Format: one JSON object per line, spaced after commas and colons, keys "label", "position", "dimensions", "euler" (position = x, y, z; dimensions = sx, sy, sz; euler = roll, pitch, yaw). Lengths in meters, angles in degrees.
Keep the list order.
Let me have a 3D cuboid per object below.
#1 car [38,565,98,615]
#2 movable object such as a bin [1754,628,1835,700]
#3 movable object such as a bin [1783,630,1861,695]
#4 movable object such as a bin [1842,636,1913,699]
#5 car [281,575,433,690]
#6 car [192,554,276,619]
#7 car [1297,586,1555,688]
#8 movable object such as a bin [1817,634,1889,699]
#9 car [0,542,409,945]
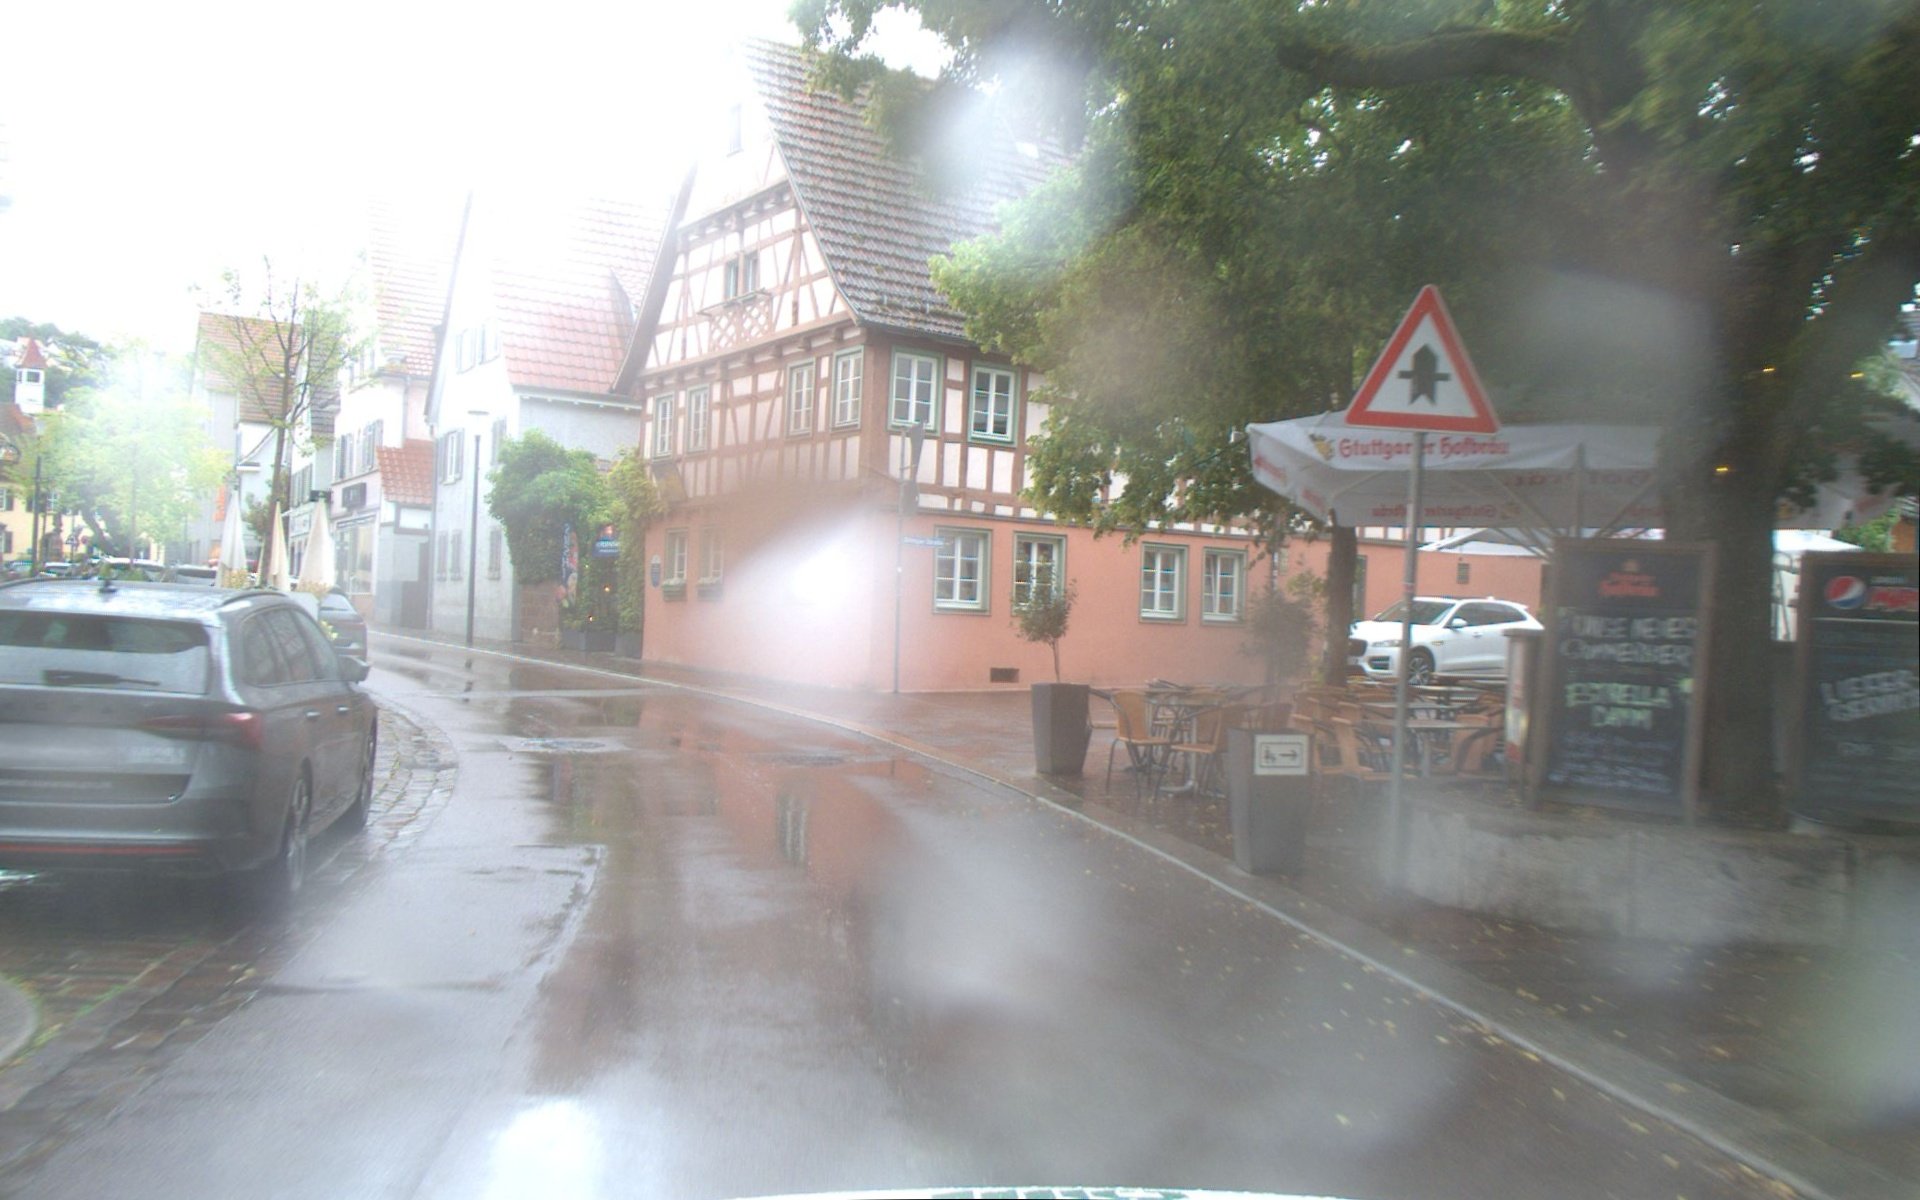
{"label": "car", "position": [-31.456, -0.384, 58.273], "dimensions": [1.674, 1.565, 4.079], "euler": [4, 0, -30]}
{"label": "movable object such as a bin", "position": [13.551, 1.040, 26.857], "dimensions": [0.868, 1.130, 0.847], "euler": [3, -3, -33]}
{"label": "movable object such as a bin", "position": [14.267, 1.034, 27.377], "dimensions": [0.820, 1.040, 0.847], "euler": [3, -3, -33]}
{"label": "movable object such as a bin", "position": [15.693, 1.154, 28.288], "dimensions": [0.689, 1.044, 0.847], "euler": [3, -3, -33]}
{"label": "car", "position": [-8.842, 0.414, 24.152], "dimensions": [1.835, 1.467, 4.590], "euler": [3, 0, -21]}
{"label": "car", "position": [-22.801, -0.444, 51.862], "dimensions": [1.874, 1.843, 3.960], "euler": [4, -1, -30]}
{"label": "car", "position": [8.487, 0.642, 30.013], "dimensions": [4.558, 1.661, 1.978], "euler": [1, 2, -33]}
{"label": "movable object such as a bin", "position": [15.050, 1.117, 27.870], "dimensions": [0.689, 1.044, 0.847], "euler": [3, -3, -33]}
{"label": "car", "position": [-4.102, 0.563, 8.625], "dimensions": [1.843, 1.567, 4.385], "euler": [3, -1, -13]}
